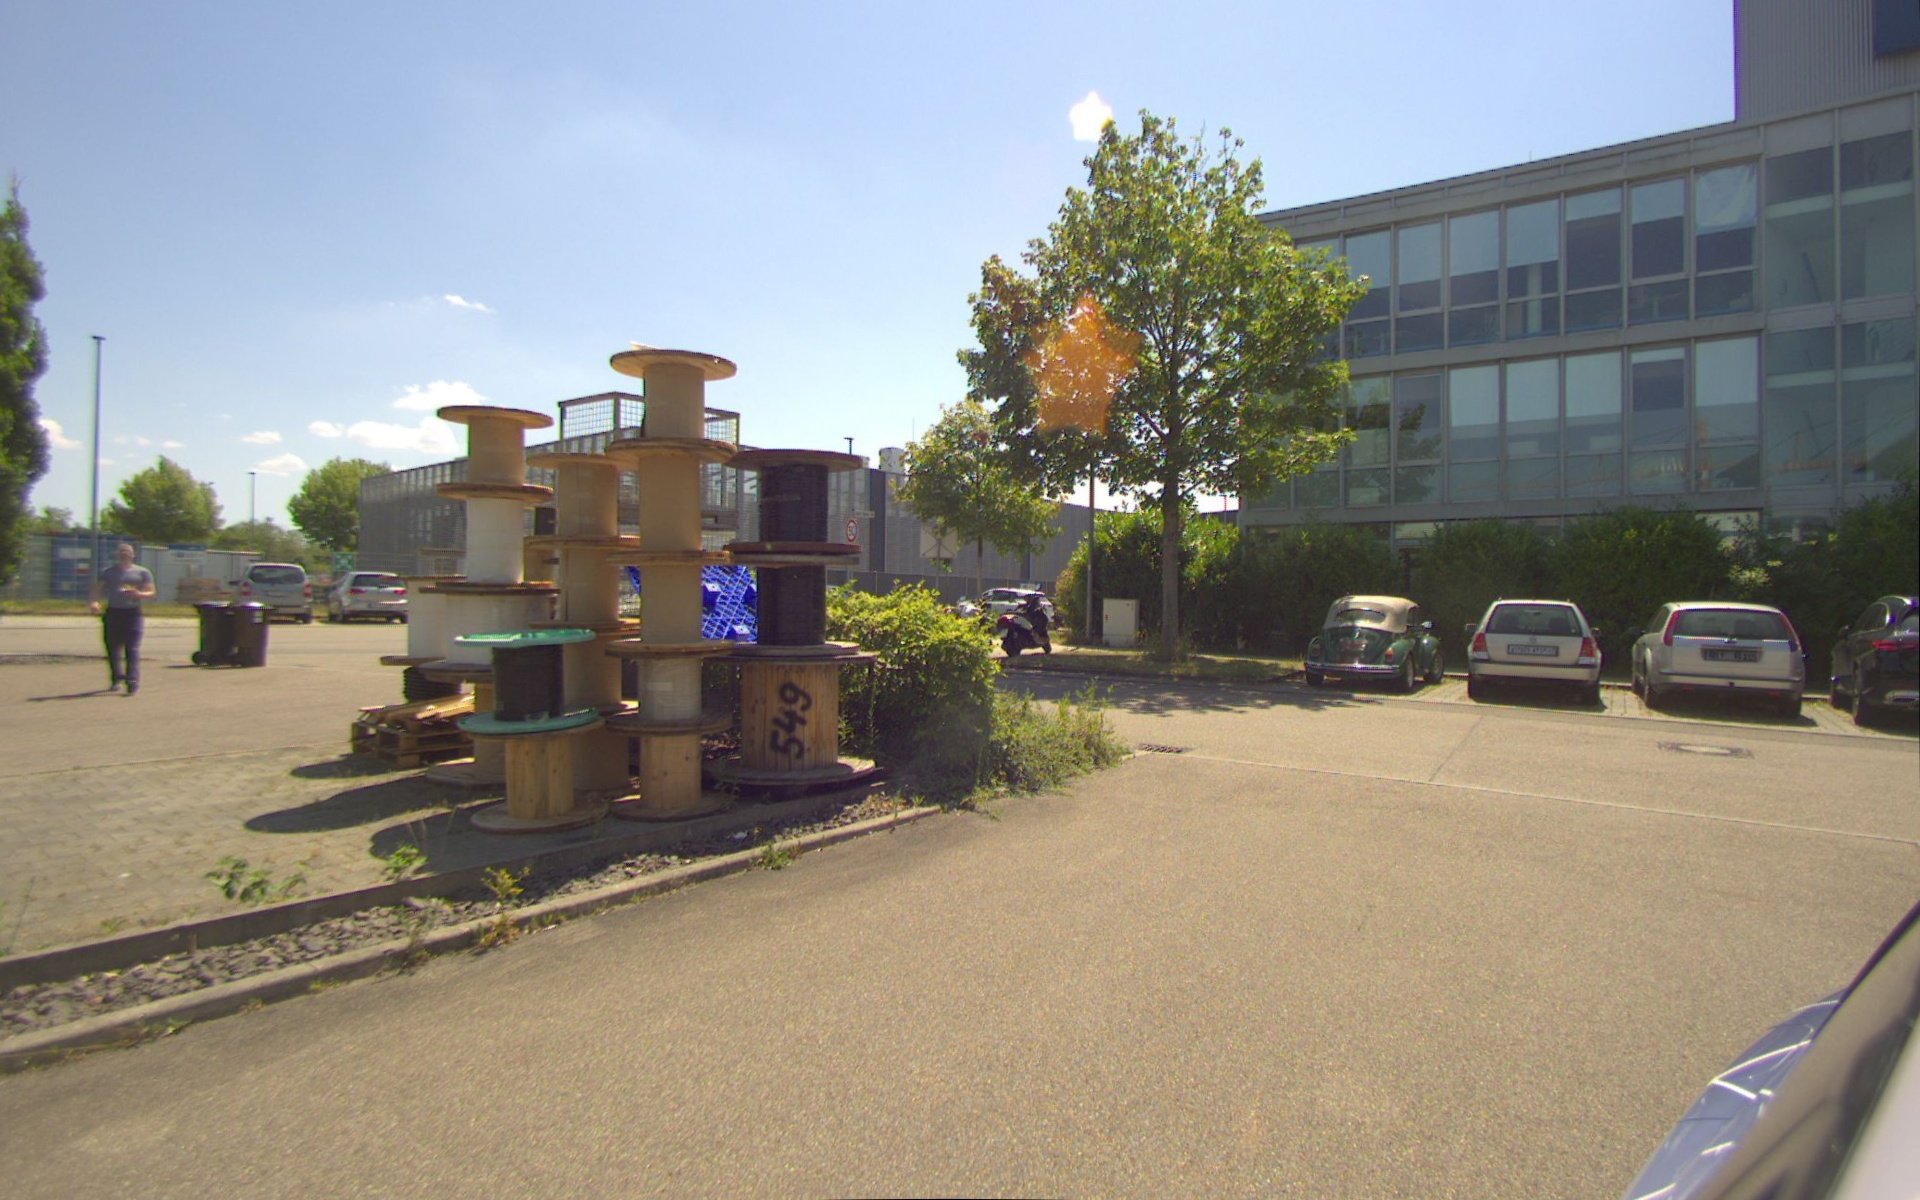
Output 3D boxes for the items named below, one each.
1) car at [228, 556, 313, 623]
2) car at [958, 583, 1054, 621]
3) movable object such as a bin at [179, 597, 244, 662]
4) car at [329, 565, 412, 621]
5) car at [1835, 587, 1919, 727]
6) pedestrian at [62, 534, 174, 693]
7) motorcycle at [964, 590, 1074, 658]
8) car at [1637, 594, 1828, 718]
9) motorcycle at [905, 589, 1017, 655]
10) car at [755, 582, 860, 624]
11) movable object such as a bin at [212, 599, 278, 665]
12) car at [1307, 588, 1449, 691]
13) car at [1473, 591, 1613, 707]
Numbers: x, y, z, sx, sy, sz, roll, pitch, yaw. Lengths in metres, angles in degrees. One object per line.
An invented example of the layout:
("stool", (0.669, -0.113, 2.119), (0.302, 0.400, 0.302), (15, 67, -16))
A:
("car", (-19.086, -0.308, 28.056), (1.815, 1.727, 4.001), (1, 1, -34))
("car", (1.898, 0.050, 43.272), (1.747, 1.494, 4.414), (1, 1, -36))
("movable object such as a bin", (-11.139, 0.426, 15.067), (0.577, 0.929, 0.545), (1, 1, 13))
("car", (-17.193, -0.239, 29.436), (1.815, 1.515, 4.001), (1, 1, -34))
("car", (12.758, 0.672, 12.982), (1.928, 1.622, 3.810), (2, 2, 36))
("pedestrian", (-9.865, 0.145, 11.888), (0.792, 1.791, 0.770), (1, 0, -22))
("motorcycle", (1.238, 0.438, 20.553), (0.869, 1.275, 2.799), (1, 1, 36))
("car", (10.948, 0.685, 14.596), (1.718, 1.470, 3.562), (2, 2, 30))
("motorcycle", (0.072, 0.419, 21.201), (0.869, 1.275, 2.799), (1, 1, 36))
("car", (-5.660, 0.070, 37.173), (1.826, 1.427, 4.442), (1, 0, -39))
("movable object such as a bin", (-10.520, 0.456, 14.900), (0.577, 0.929, 0.545), (1, 1, 13))
("car", (6.968, 0.559, 16.702), (1.513, 1.463, 3.378), (2, 2, 34))
("car", (8.868, 0.640, 15.443), (1.630, 1.470, 3.562), (2, 2, 30))
